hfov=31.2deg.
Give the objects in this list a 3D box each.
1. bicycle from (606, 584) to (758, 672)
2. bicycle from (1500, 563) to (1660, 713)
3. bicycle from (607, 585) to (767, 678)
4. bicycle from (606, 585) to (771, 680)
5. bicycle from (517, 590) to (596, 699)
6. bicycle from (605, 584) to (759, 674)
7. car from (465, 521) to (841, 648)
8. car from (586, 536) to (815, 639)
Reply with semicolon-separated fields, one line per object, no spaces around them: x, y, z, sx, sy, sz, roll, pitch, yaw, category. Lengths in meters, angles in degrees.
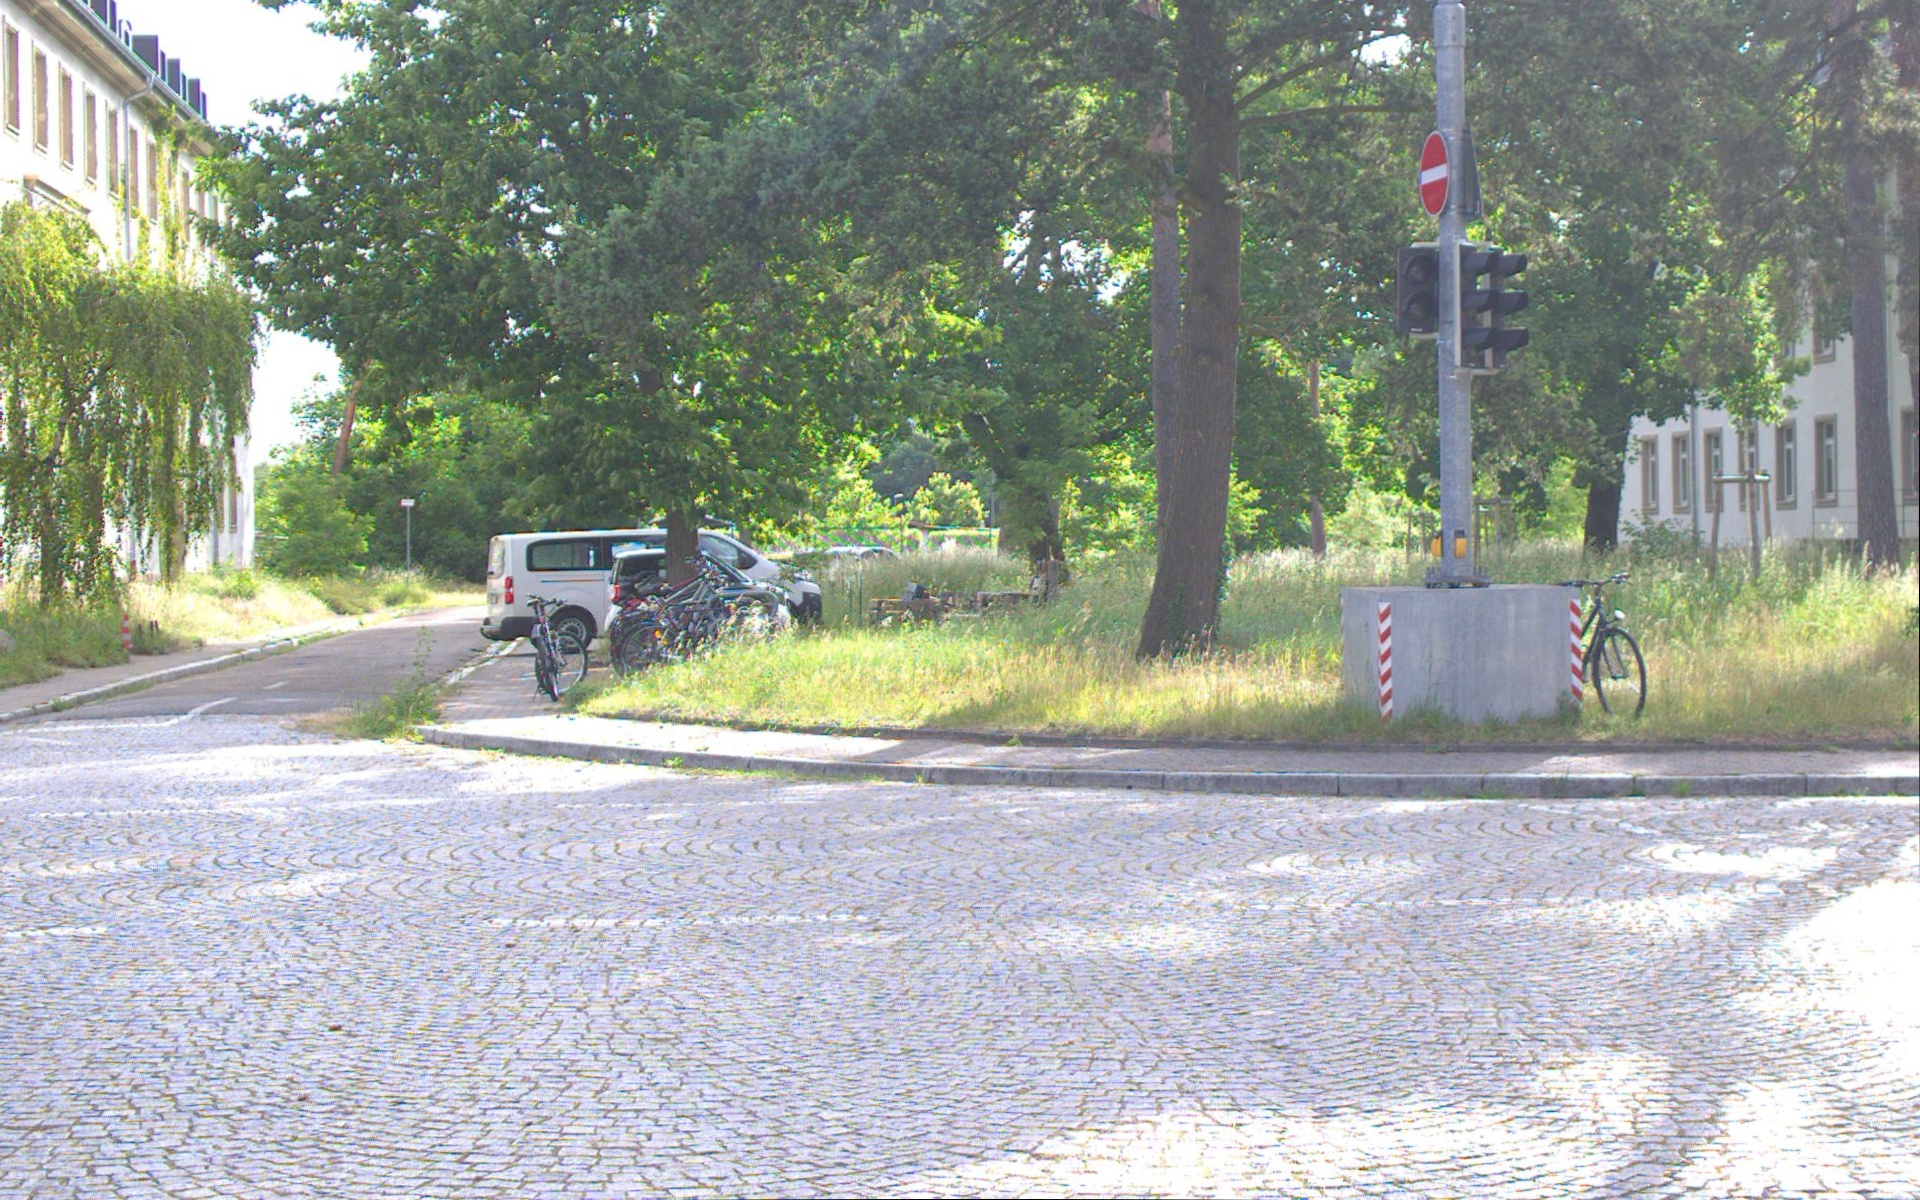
-3.370;0.335;41.590;1.792;0.995;0.644;-1;2;-6;bicycle
4.447;0.257;24.764;0.562;0.995;1.752;-1;2;-9;bicycle
-3.130;0.353;39.362;1.792;0.995;0.644;-1;2;-6;bicycle
-3.032;0.358;38.346;1.792;0.995;0.644;-1;2;-6;bicycle
-4.060;0.435;34.653;0.728;0.995;1.799;-1;2;-5;bicycle
-3.307;0.341;40.853;1.792;0.995;0.644;-1;2;-6;bicycle
-4.847;-0.257;54.181;5.499;1.909;2.255;-1;0;-19;car
-3.844;-0.189;50.690;3.031;1.460;1.720;-1;0;-18;car
